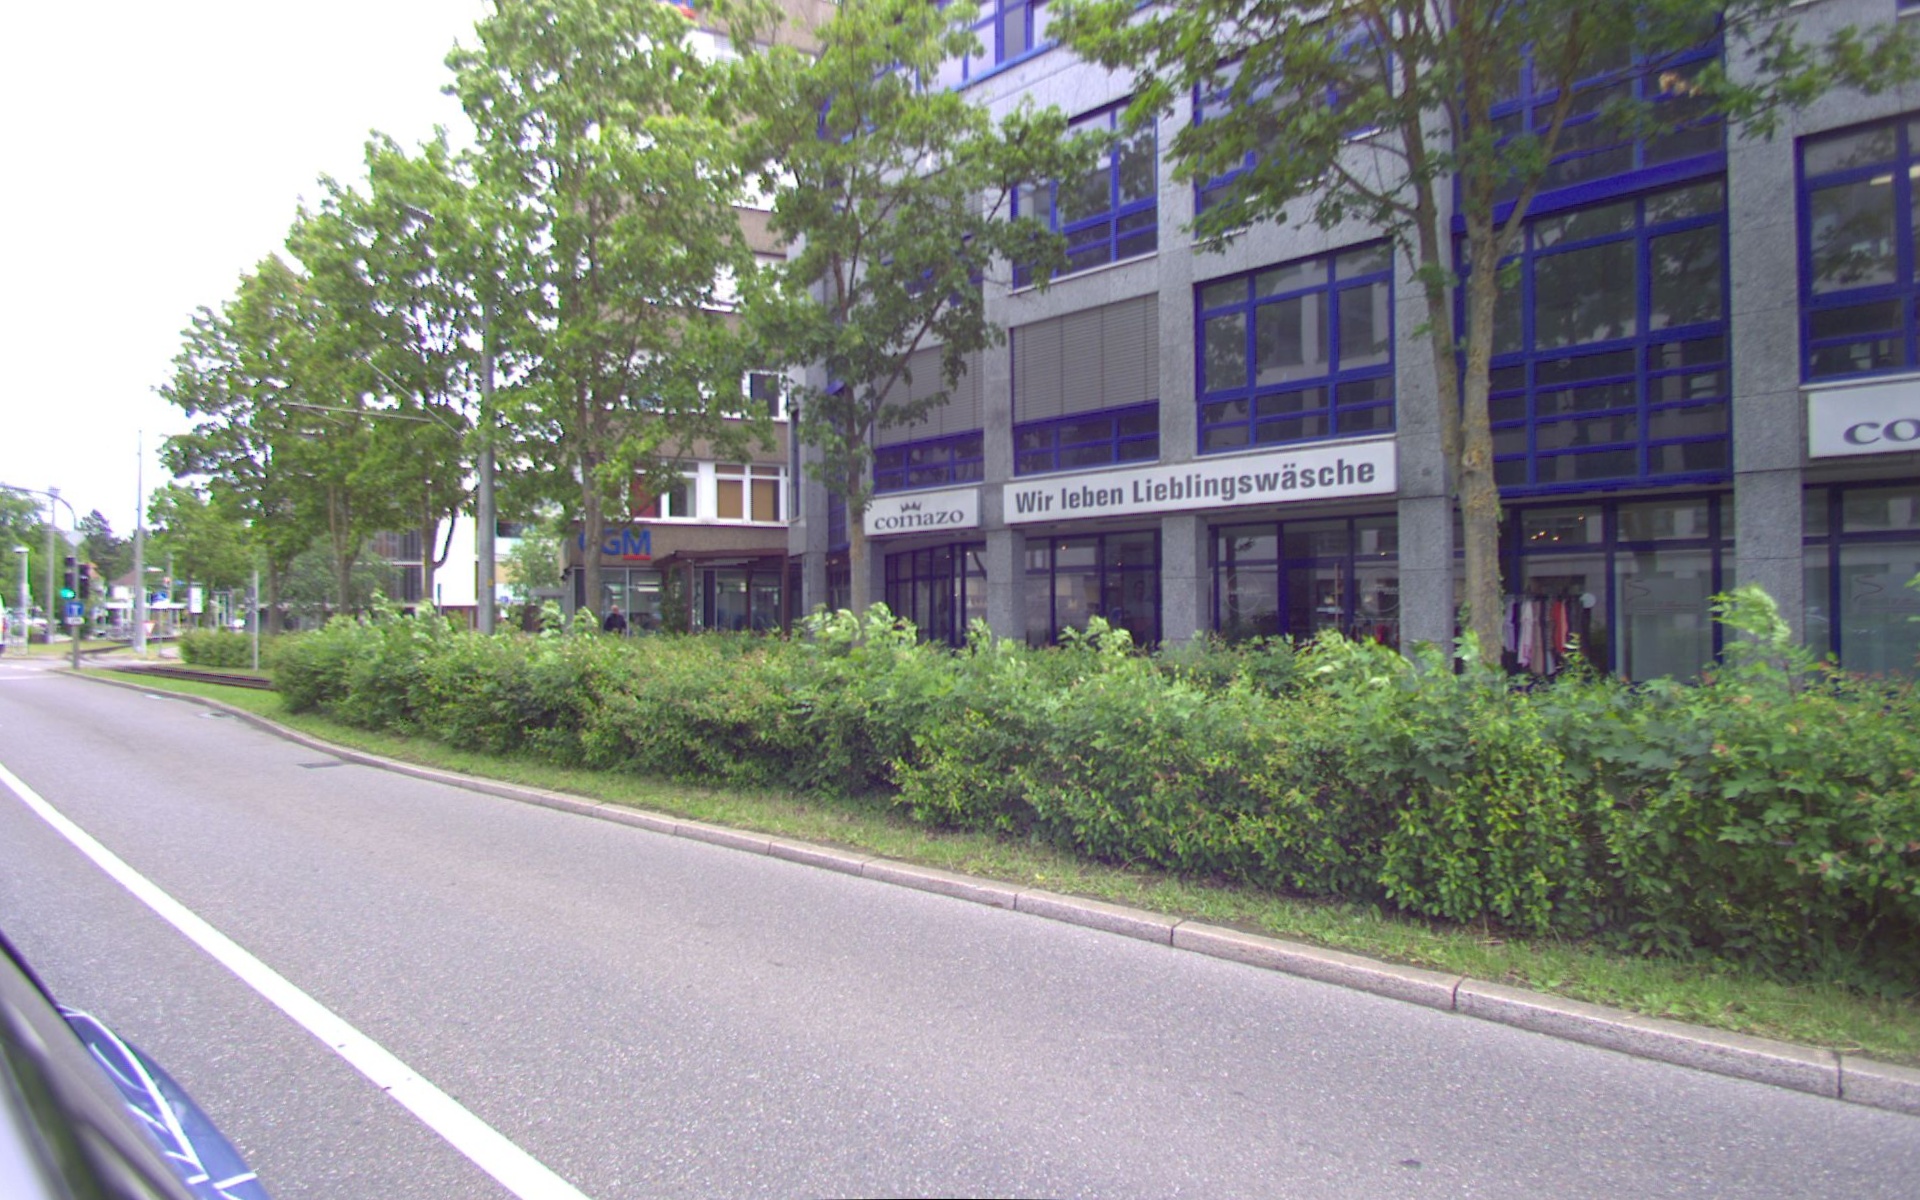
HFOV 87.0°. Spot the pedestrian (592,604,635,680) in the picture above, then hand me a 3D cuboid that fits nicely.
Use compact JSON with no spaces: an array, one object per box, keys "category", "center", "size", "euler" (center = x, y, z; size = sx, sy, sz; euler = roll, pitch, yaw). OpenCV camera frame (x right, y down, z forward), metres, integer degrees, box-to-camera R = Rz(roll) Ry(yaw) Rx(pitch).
[{"category":"pedestrian","center":[-8.991,1.070,26.258],"size":[0.731,1.908,0.766],"euler":[-1,0,40]}]

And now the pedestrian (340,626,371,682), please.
[{"category":"pedestrian","center":[-20.230,1.783,33.887],"size":[0.730,1.819,0.672],"euler":[-1,0,37]}]

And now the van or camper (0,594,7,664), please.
[{"category":"van or camper","center":[-40.987,1.185,40.786],"size":[6.126,2.754,2.093],"euler":[-1,0,30]}]

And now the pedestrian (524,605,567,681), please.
[{"category":"pedestrian","center":[-10.877,1.115,26.582],"size":[0.731,1.938,0.805],"euler":[-1,0,40]}]

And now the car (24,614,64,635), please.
[{"category":"car","center":[-92.510,2.458,102.265],"size":[1.965,2.029,4.013],"euler":[0,0,-25]}]
